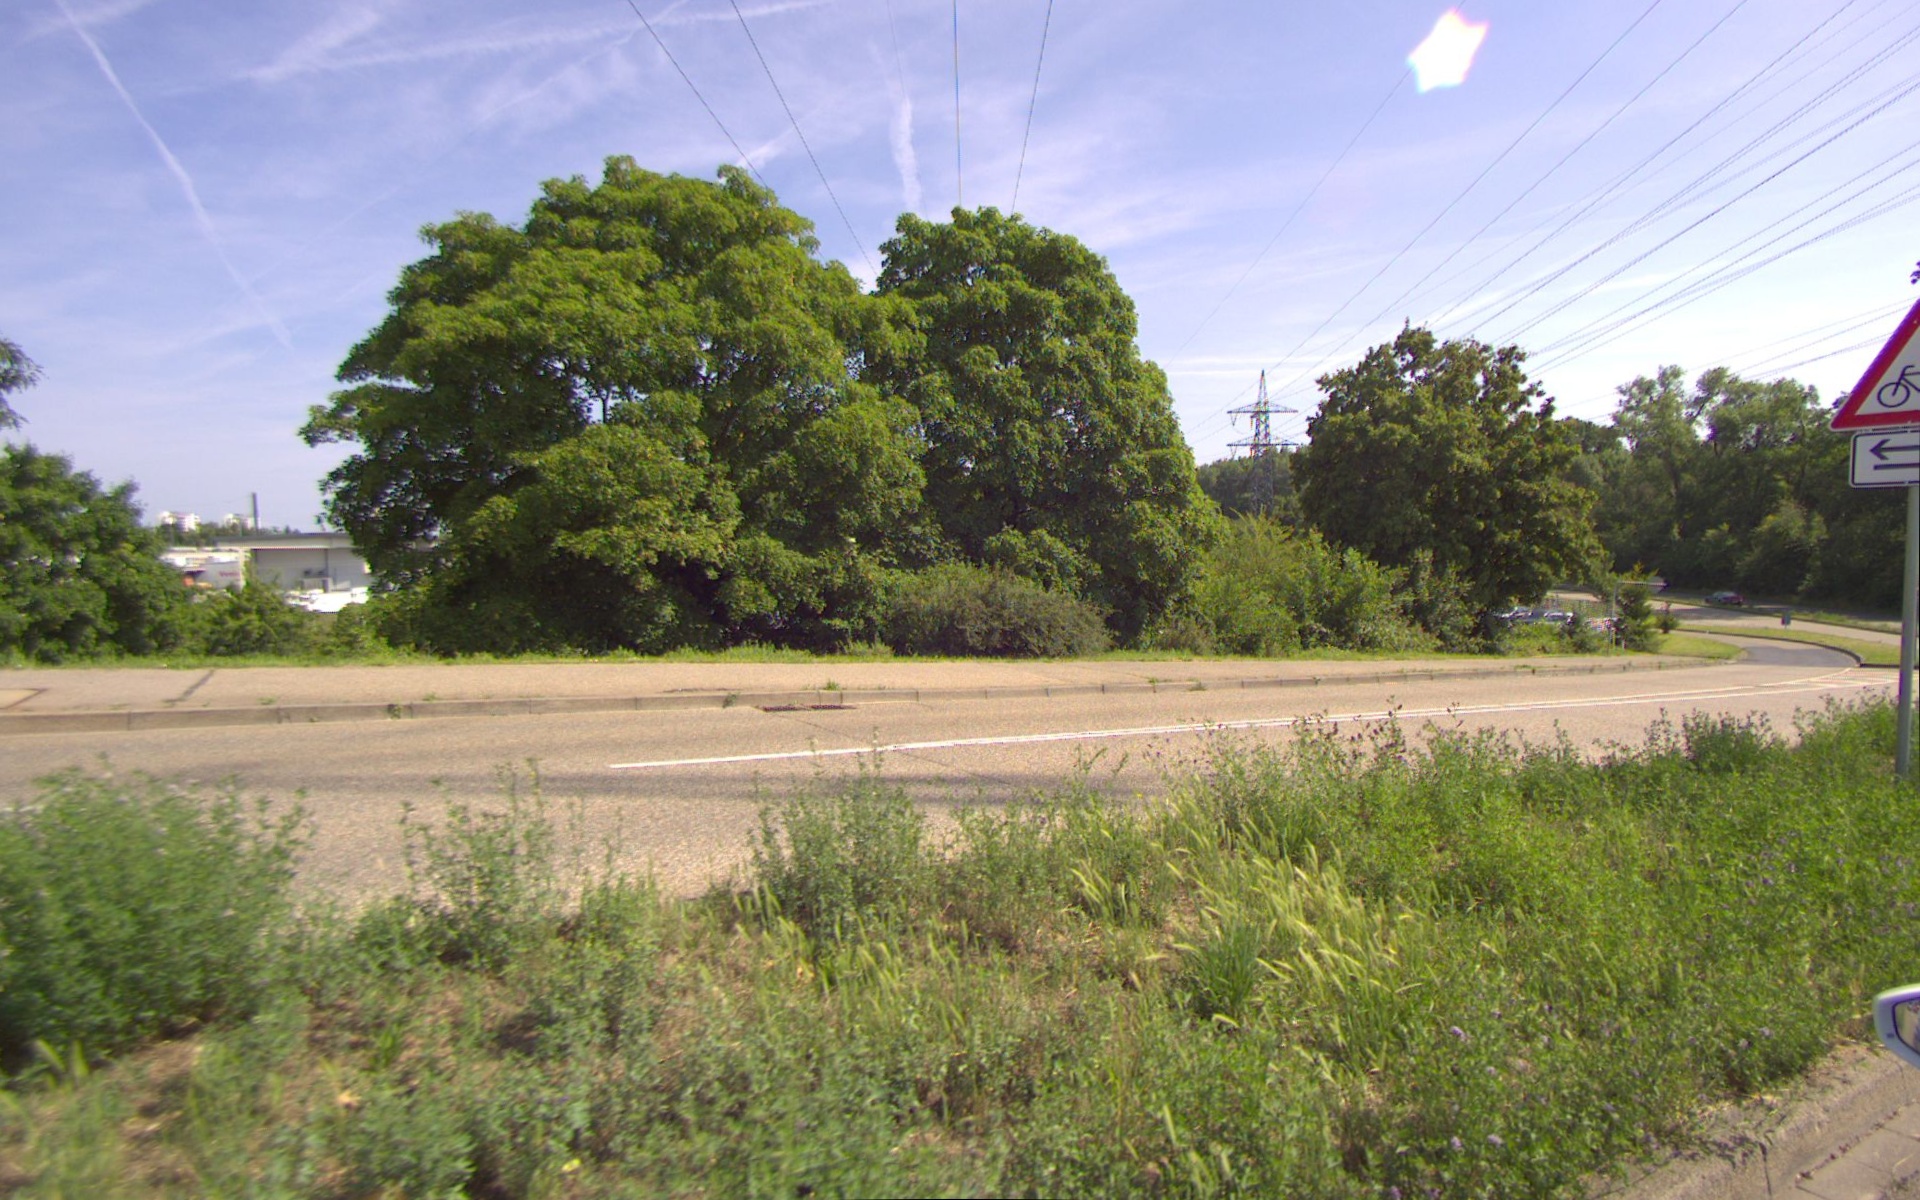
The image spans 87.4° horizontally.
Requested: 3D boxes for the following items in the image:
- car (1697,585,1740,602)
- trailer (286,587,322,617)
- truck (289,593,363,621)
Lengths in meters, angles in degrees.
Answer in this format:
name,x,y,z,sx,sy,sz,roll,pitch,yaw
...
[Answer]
name,x,y,z,sx,sy,sz,roll,pitch,yaw
car,76.416,-0.710,101.250,1.619,1.588,3.657,-1,2,2
trailer,-69.283,0.189,106.220,2.585,2.848,6.725,-2,3,-29
truck,-60.628,0.645,96.162,2.255,2.433,5.598,1,3,27
